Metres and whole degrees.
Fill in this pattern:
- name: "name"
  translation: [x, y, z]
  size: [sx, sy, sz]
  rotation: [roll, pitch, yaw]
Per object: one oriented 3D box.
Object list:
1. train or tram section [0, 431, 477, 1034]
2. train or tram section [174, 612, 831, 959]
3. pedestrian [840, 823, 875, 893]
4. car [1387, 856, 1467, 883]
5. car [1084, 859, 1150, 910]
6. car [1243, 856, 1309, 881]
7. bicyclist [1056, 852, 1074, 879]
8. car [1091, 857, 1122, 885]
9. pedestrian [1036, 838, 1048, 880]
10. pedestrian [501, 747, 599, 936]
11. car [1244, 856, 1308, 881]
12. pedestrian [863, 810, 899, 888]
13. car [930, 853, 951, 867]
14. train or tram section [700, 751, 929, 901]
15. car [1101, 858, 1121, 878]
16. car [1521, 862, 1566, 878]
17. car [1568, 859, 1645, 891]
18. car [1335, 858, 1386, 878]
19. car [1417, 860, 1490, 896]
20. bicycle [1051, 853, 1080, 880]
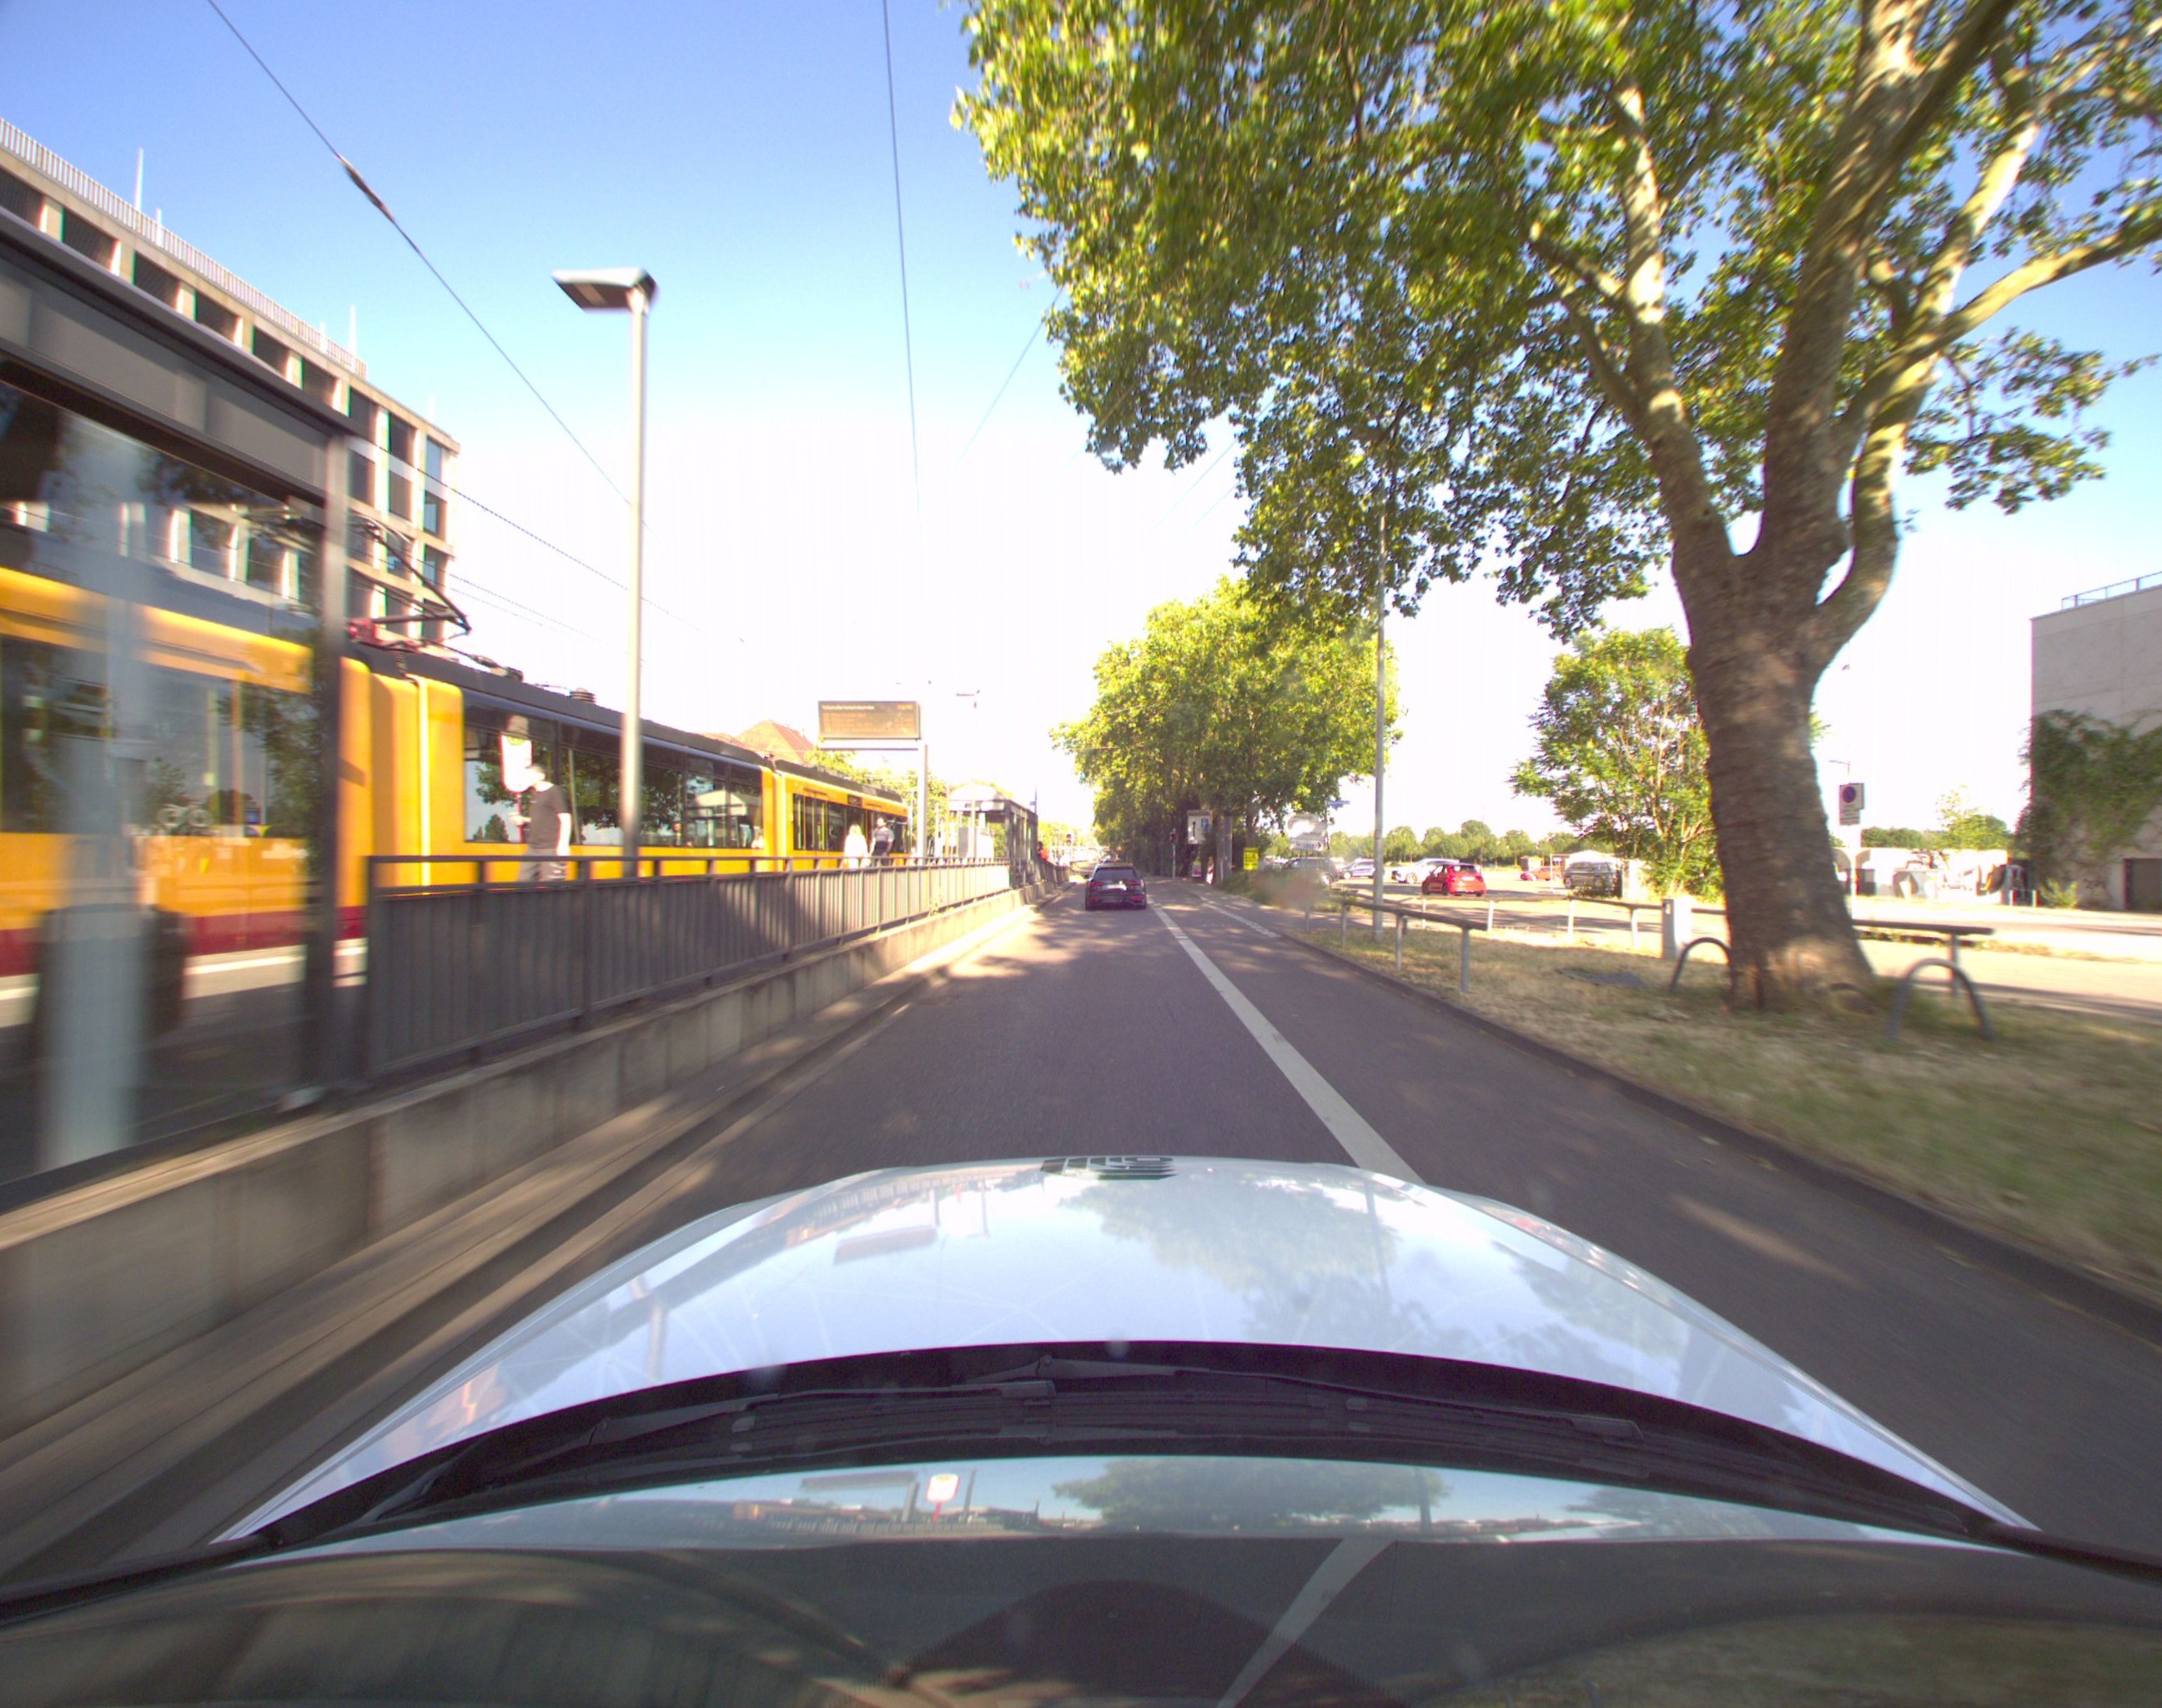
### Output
- name: "train or tram section"
  translation: [-8.613, -0.807, 1.970]
  size: [3.297, 3.829, 14.223]
  rotation: [1, 0, 2]
- name: "train or tram section"
  translation: [-8.274, -0.747, 15.012]
  size: [3.297, 3.829, 11.847]
  rotation: [1, 0, 1]
- name: "pedestrian"
  translation: [-5.531, 0.101, 20.193]
  size: [0.655, 1.713, 0.613]
  rotation: [1, -1, 0]
- name: "car"
  translation: [22.579, 0.991, 53.281]
  size: [4.436, 1.658, 1.921]
  rotation: [1, 0, 5]
- name: "car"
  translation: [1.073, 0.911, 25.635]
  size: [1.872, 1.457, 3.355]
  rotation: [-1, 0, -1]
- name: "car"
  translation: [12.550, 0.907, 52.650]
  size: [3.870, 1.505, 1.889]
  rotation: [1, 0, 2]
- name: "bicyclist"
  translation: [-1.051, 0.745, 53.039]
  size: [0.914, 1.717, 0.761]
  rotation: [1, -1, -43]
- name: "car"
  translation: [1.578, 1.045, 51.048]
  size: [1.757, 1.619, 3.999]
  rotation: [1, 0, -1]
- name: "pedestrian"
  translation: [-1.635, 0.194, 34.015]
  size: [0.410, 1.717, 0.666]
  rotation: [1, -1, 1]
- name: "pedestrian"
  translation: [-5.578, -0.127, 8.581]
  size: [0.550, 1.905, 0.644]
  rotation: [1, -1, 2]
- name: "car"
  translation: [12.041, 0.906, 50.437]
  size: [3.580, 1.462, 1.679]
  rotation: [1, 0, 2]
- name: "pedestrian"
  translation: [-4.500, -0.106, 18.387]
  size: [0.609, 1.713, 0.659]
  rotation: [1, -1, 0]
- name: "car"
  translation: [-16.625, 0.692, 96.537]
  size: [1.733, 1.547, 4.001]
  rotation: [2, -1, 1]
- name: "train or tram section"
  translation: [-7.958, -0.699, 26.894]
  size: [3.297, 3.829, 11.847]
  rotation: [1, 0, 1]
- name: "car"
  translation: [3.114, 1.440, 84.567]
  size: [1.986, 2.013, 4.002]
  rotation: [1, 0, 2]
- name: "car"
  translation: [48.159, 1.637, 84.763]
  size: [3.803, 1.601, 1.649]
  rotation: [1, 0, -2]
- name: "car"
  translation: [27.945, 1.065, 43.446]
  size: [1.560, 1.610, 4.001]
  rotation: [1, 0, 1]
- name: "car"
  translation: [24.035, 1.186, 70.084]
  size: [3.798, 1.609, 1.671]
  rotation: [1, 0, 2]
- name: "car"
  translation: [16.544, 1.030, 36.326]
  size: [1.608, 1.515, 3.805]
  rotation: [1, 0, 2]
- name: "bicycle"
  translation: [-0.998, 0.796, 53.067]
  size: [1.984, 1.717, 0.584]
  rotation: [1, -1, -43]
